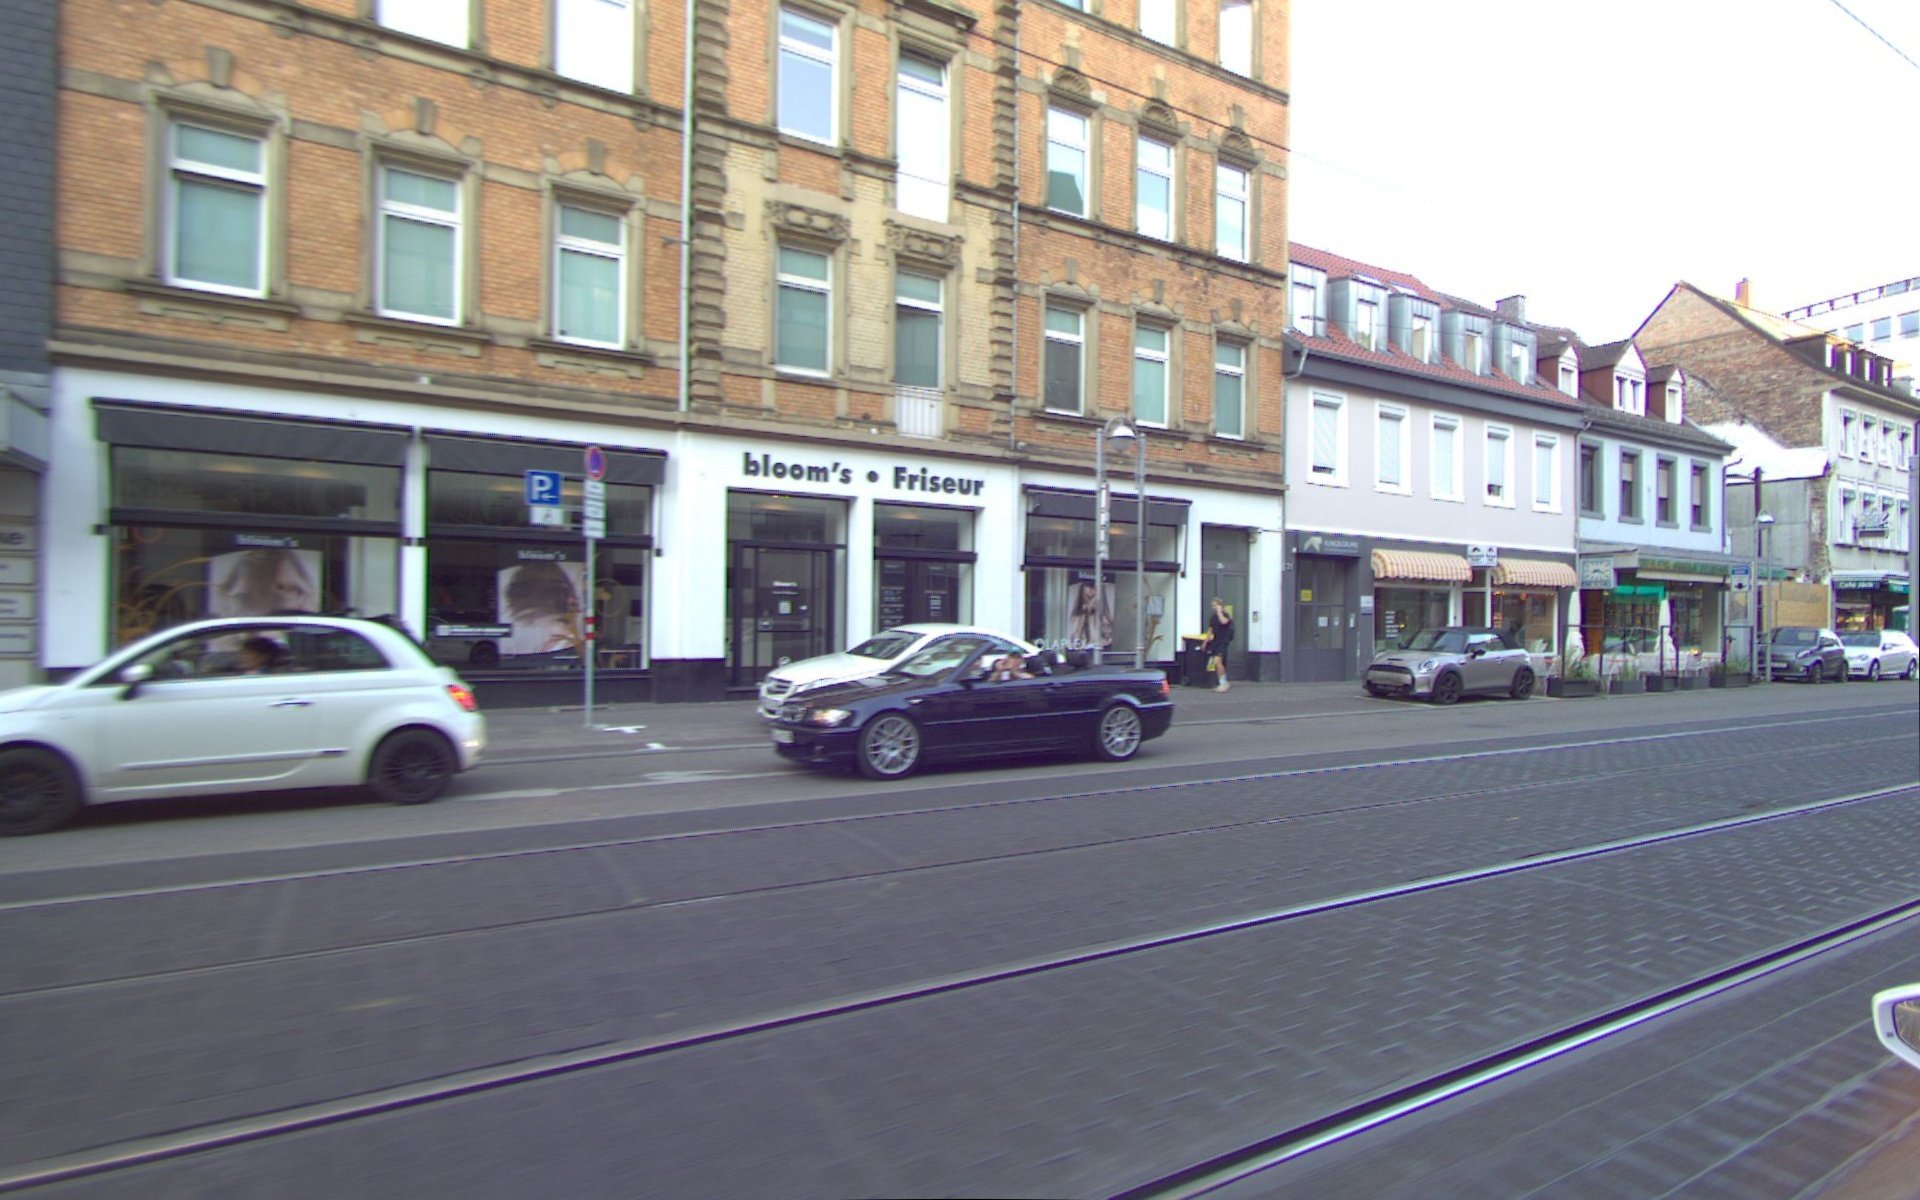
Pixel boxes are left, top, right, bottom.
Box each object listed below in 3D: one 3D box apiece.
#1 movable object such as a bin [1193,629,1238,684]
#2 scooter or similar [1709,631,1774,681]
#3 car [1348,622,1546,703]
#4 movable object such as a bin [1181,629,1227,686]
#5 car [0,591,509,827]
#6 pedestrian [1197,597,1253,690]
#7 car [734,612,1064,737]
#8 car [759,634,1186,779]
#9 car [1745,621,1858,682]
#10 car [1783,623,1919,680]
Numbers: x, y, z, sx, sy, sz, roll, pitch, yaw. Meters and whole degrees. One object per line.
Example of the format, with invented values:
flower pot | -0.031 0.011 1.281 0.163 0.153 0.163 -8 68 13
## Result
movable object such as a bin | 5.447 1.199 21.435 0.720 1.146 0.587 1 -1 -30
scooter or similar | 20.729 1.464 26.667 0.290 1.221 1.308 1 1 -29
car | 9.860 1.212 20.292 3.819 1.408 1.725 1 2 -30
movable object such as a bin | 5.030 1.166 20.690 0.720 1.146 0.587 1 -1 -30
car | -5.619 0.765 7.868 3.638 1.525 1.659 1 -3 -31
pedestrian | 5.270 0.855 19.990 0.845 1.796 0.645 1 1 -30
car | -0.780 0.938 13.889 4.227 1.408 1.749 1 2 -33
car | 0.208 0.990 10.451 4.225 1.244 1.659 1 -3 -31
car | 23.621 1.416 28.185 2.781 1.525 1.583 1 2 -31
car | 27.223 1.525 30.541 4.785 1.525 1.840 1 2 -31
